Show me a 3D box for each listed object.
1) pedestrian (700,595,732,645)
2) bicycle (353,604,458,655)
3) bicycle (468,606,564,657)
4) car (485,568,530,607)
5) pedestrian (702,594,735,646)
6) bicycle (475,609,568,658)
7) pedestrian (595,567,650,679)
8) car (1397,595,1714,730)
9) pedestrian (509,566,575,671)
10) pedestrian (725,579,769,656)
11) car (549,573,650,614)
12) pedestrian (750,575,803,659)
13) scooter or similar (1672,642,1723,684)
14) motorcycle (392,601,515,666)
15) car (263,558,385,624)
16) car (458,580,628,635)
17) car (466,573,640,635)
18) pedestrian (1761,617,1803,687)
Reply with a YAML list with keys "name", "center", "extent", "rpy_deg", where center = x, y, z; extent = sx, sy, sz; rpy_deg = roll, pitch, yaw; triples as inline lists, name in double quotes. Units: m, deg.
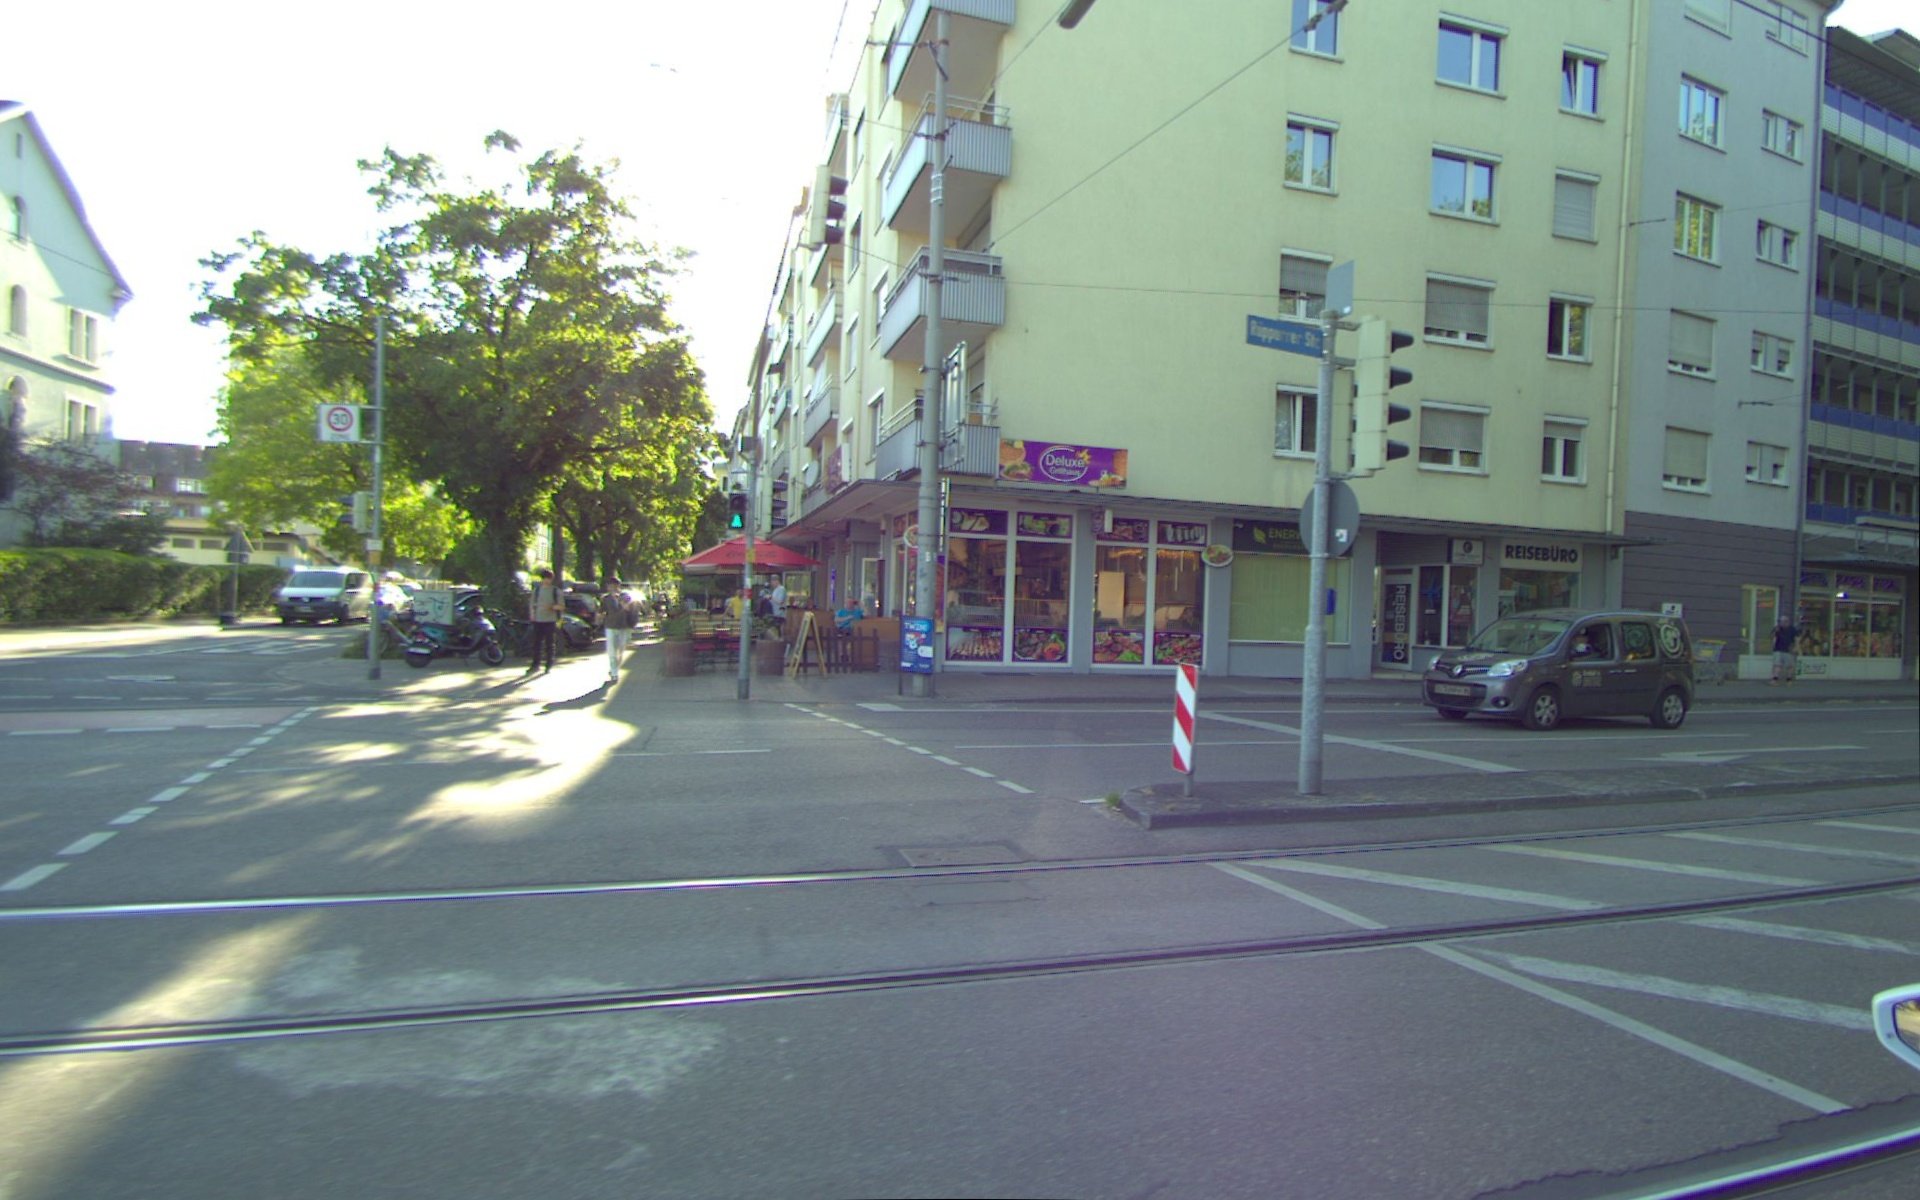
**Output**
- name: "pedestrian"
  center: [-7.015, 0.571, 28.936]
  extent: [0.799, 1.380, 0.912]
  rpy_deg: [2, 0, -11]
- name: "bicycle"
  center: [-11.160, 0.596, 20.265]
  extent: [1.701, 0.945, 0.670]
  rpy_deg: [2, 0, -17]
- name: "bicycle"
  center: [-8.986, 0.638, 20.385]
  extent: [1.701, 0.945, 0.560]
  rpy_deg: [2, 0, -17]
- name: "car"
  center: [-31.823, -0.879, 70.772]
  extent: [2.326, 2.548, 5.287]
  rpy_deg: [2, 0, -19]
- name: "pedestrian"
  center: [-6.634, 0.537, 27.666]
  extent: [0.799, 1.380, 0.912]
  rpy_deg: [2, 0, -11]
- name: "bicycle"
  center: [-9.204, 0.703, 21.120]
  extent: [1.701, 0.945, 0.560]
  rpy_deg: [2, 0, -17]
- name: "pedestrian"
  center: [-5.547, 0.374, 16.499]
  extent: [0.684, 1.774, 0.834]
  rpy_deg: [2, 0, -27]
- name: "car"
  center: [9.085, 0.921, 15.357]
  extent: [4.298, 1.830, 1.906]
  rpy_deg: [2, 0, -22]
- name: "pedestrian"
  center: [-7.304, 0.317, 17.577]
  extent: [0.679, 1.774, 0.795]
  rpy_deg: [2, 0, 12]
- name: "pedestrian"
  center: [-5.122, 0.423, 24.118]
  extent: [0.803, 1.795, 0.908]
  rpy_deg: [2, 0, -24]
- name: "car"
  center: [-19.744, -0.309, 55.192]
  extent: [5.028, 1.949, 2.352]
  rpy_deg: [2, -2, -19]
- name: "pedestrian"
  center: [-4.039, 0.374, 22.115]
  extent: [0.902, 1.795, 0.808]
  rpy_deg: [2, 0, -28]
- name: "scooter or similar"
  center: [17.708, 1.512, 24.118]
  extent: [1.415, 0.966, 0.464]
  rpy_deg: [2, 0, -31]
- name: "motorcycle"
  center: [-9.386, 0.627, 18.706]
  extent: [1.929, 1.124, 0.833]
  rpy_deg: [2, 0, -22]
- name: "car"
  center: [-21.991, -0.308, 35.023]
  extent: [2.326, 2.040, 5.287]
  rpy_deg: [2, 0, -19]
- name: "car"
  center: [-13.780, 0.301, 33.595]
  extent: [5.028, 1.577, 2.352]
  rpy_deg: [2, -2, -19]
- name: "car"
  center: [-14.474, 0.185, 36.081]
  extent: [5.552, 1.949, 2.352]
  rpy_deg: [2, -2, -19]
- name: "pedestrian"
  center: [20.370, 1.286, 24.893]
  extent: [0.620, 1.670, 0.657]
  rpy_deg: [2, 0, -41]
